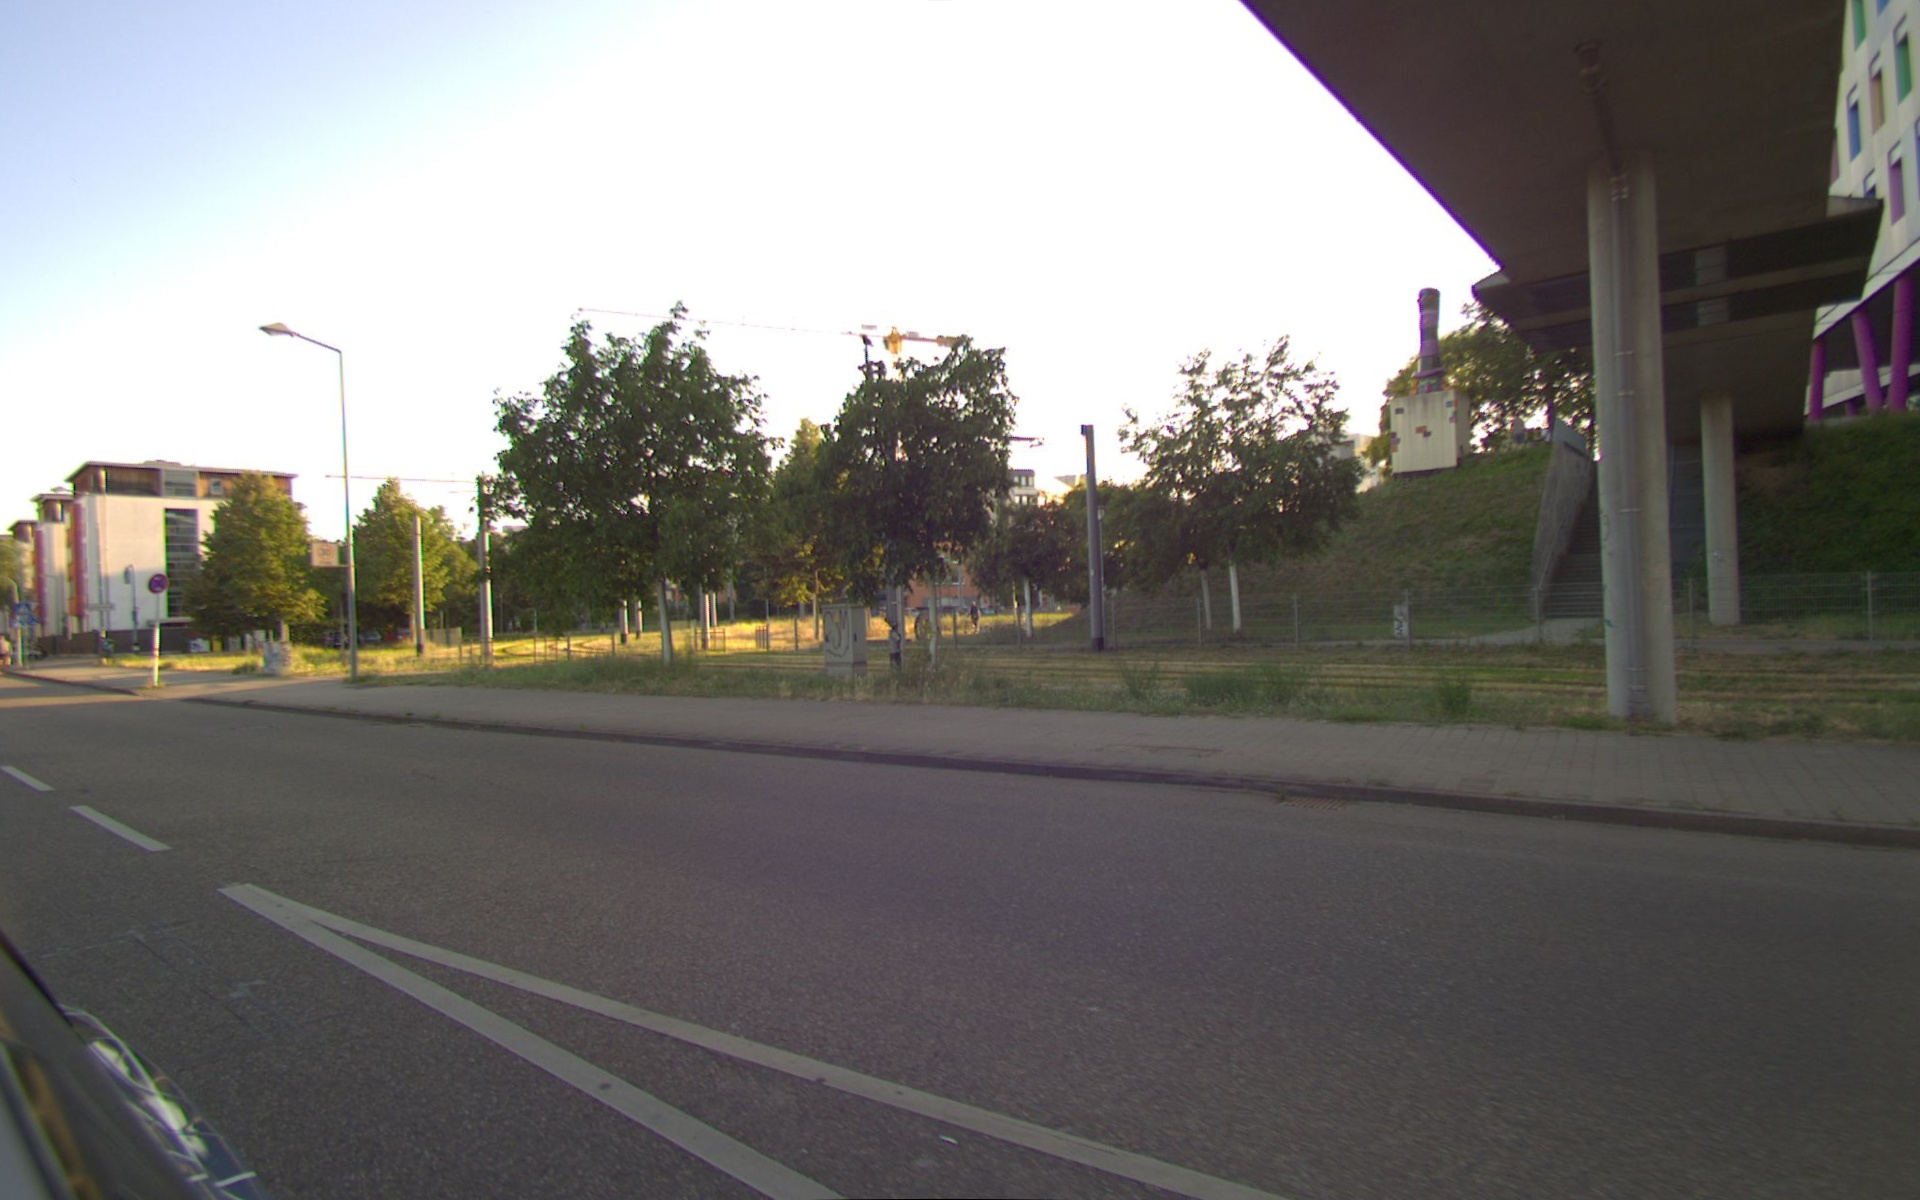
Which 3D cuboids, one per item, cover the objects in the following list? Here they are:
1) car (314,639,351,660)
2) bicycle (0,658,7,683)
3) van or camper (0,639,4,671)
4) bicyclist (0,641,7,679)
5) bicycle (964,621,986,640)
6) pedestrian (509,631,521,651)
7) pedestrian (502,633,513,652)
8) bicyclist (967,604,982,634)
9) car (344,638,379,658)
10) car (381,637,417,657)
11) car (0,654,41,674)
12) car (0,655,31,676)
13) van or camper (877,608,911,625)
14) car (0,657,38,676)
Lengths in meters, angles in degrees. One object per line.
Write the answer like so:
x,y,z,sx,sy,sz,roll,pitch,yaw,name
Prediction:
-48.837,3.828,78.792,3.412,1.533,1.666,-3,-1,45,car
-42.118,3.114,44.291,0.532,1.051,1.926,-2,-2,-44,bicycle
-95.834,5.461,96.686,2.439,3.110,6.238,-4,-1,37,van or camper
-42.224,2.643,44.359,0.607,1.675,1.037,-2,-2,-44,bicyclist
0.779,1.573,52.203,0.431,0.907,1.219,-5,-2,41,bicycle
-40.010,3.696,91.011,0.732,1.679,0.625,-4,0,-41,pedestrian
-40.827,3.834,91.280,0.702,1.611,0.658,-4,0,-40,pedestrian
0.750,0.967,52.227,0.424,1.506,0.507,-5,-2,43,bicyclist
-47.389,3.786,80.109,3.412,1.511,1.571,-3,-1,45,car
-45.281,3.775,81.683,3.412,1.511,1.571,-3,-1,45,car
-72.472,4.831,76.475,1.679,1.469,4.236,-4,-4,40,car
-78.605,5.337,81.948,1.756,1.597,4.700,-4,-4,38,car
-7.769,1.914,118.672,3.881,1.707,1.808,-5,-2,45,van or camper
-75.126,5.189,78.753,1.709,1.489,4.852,-4,-5,40,car
